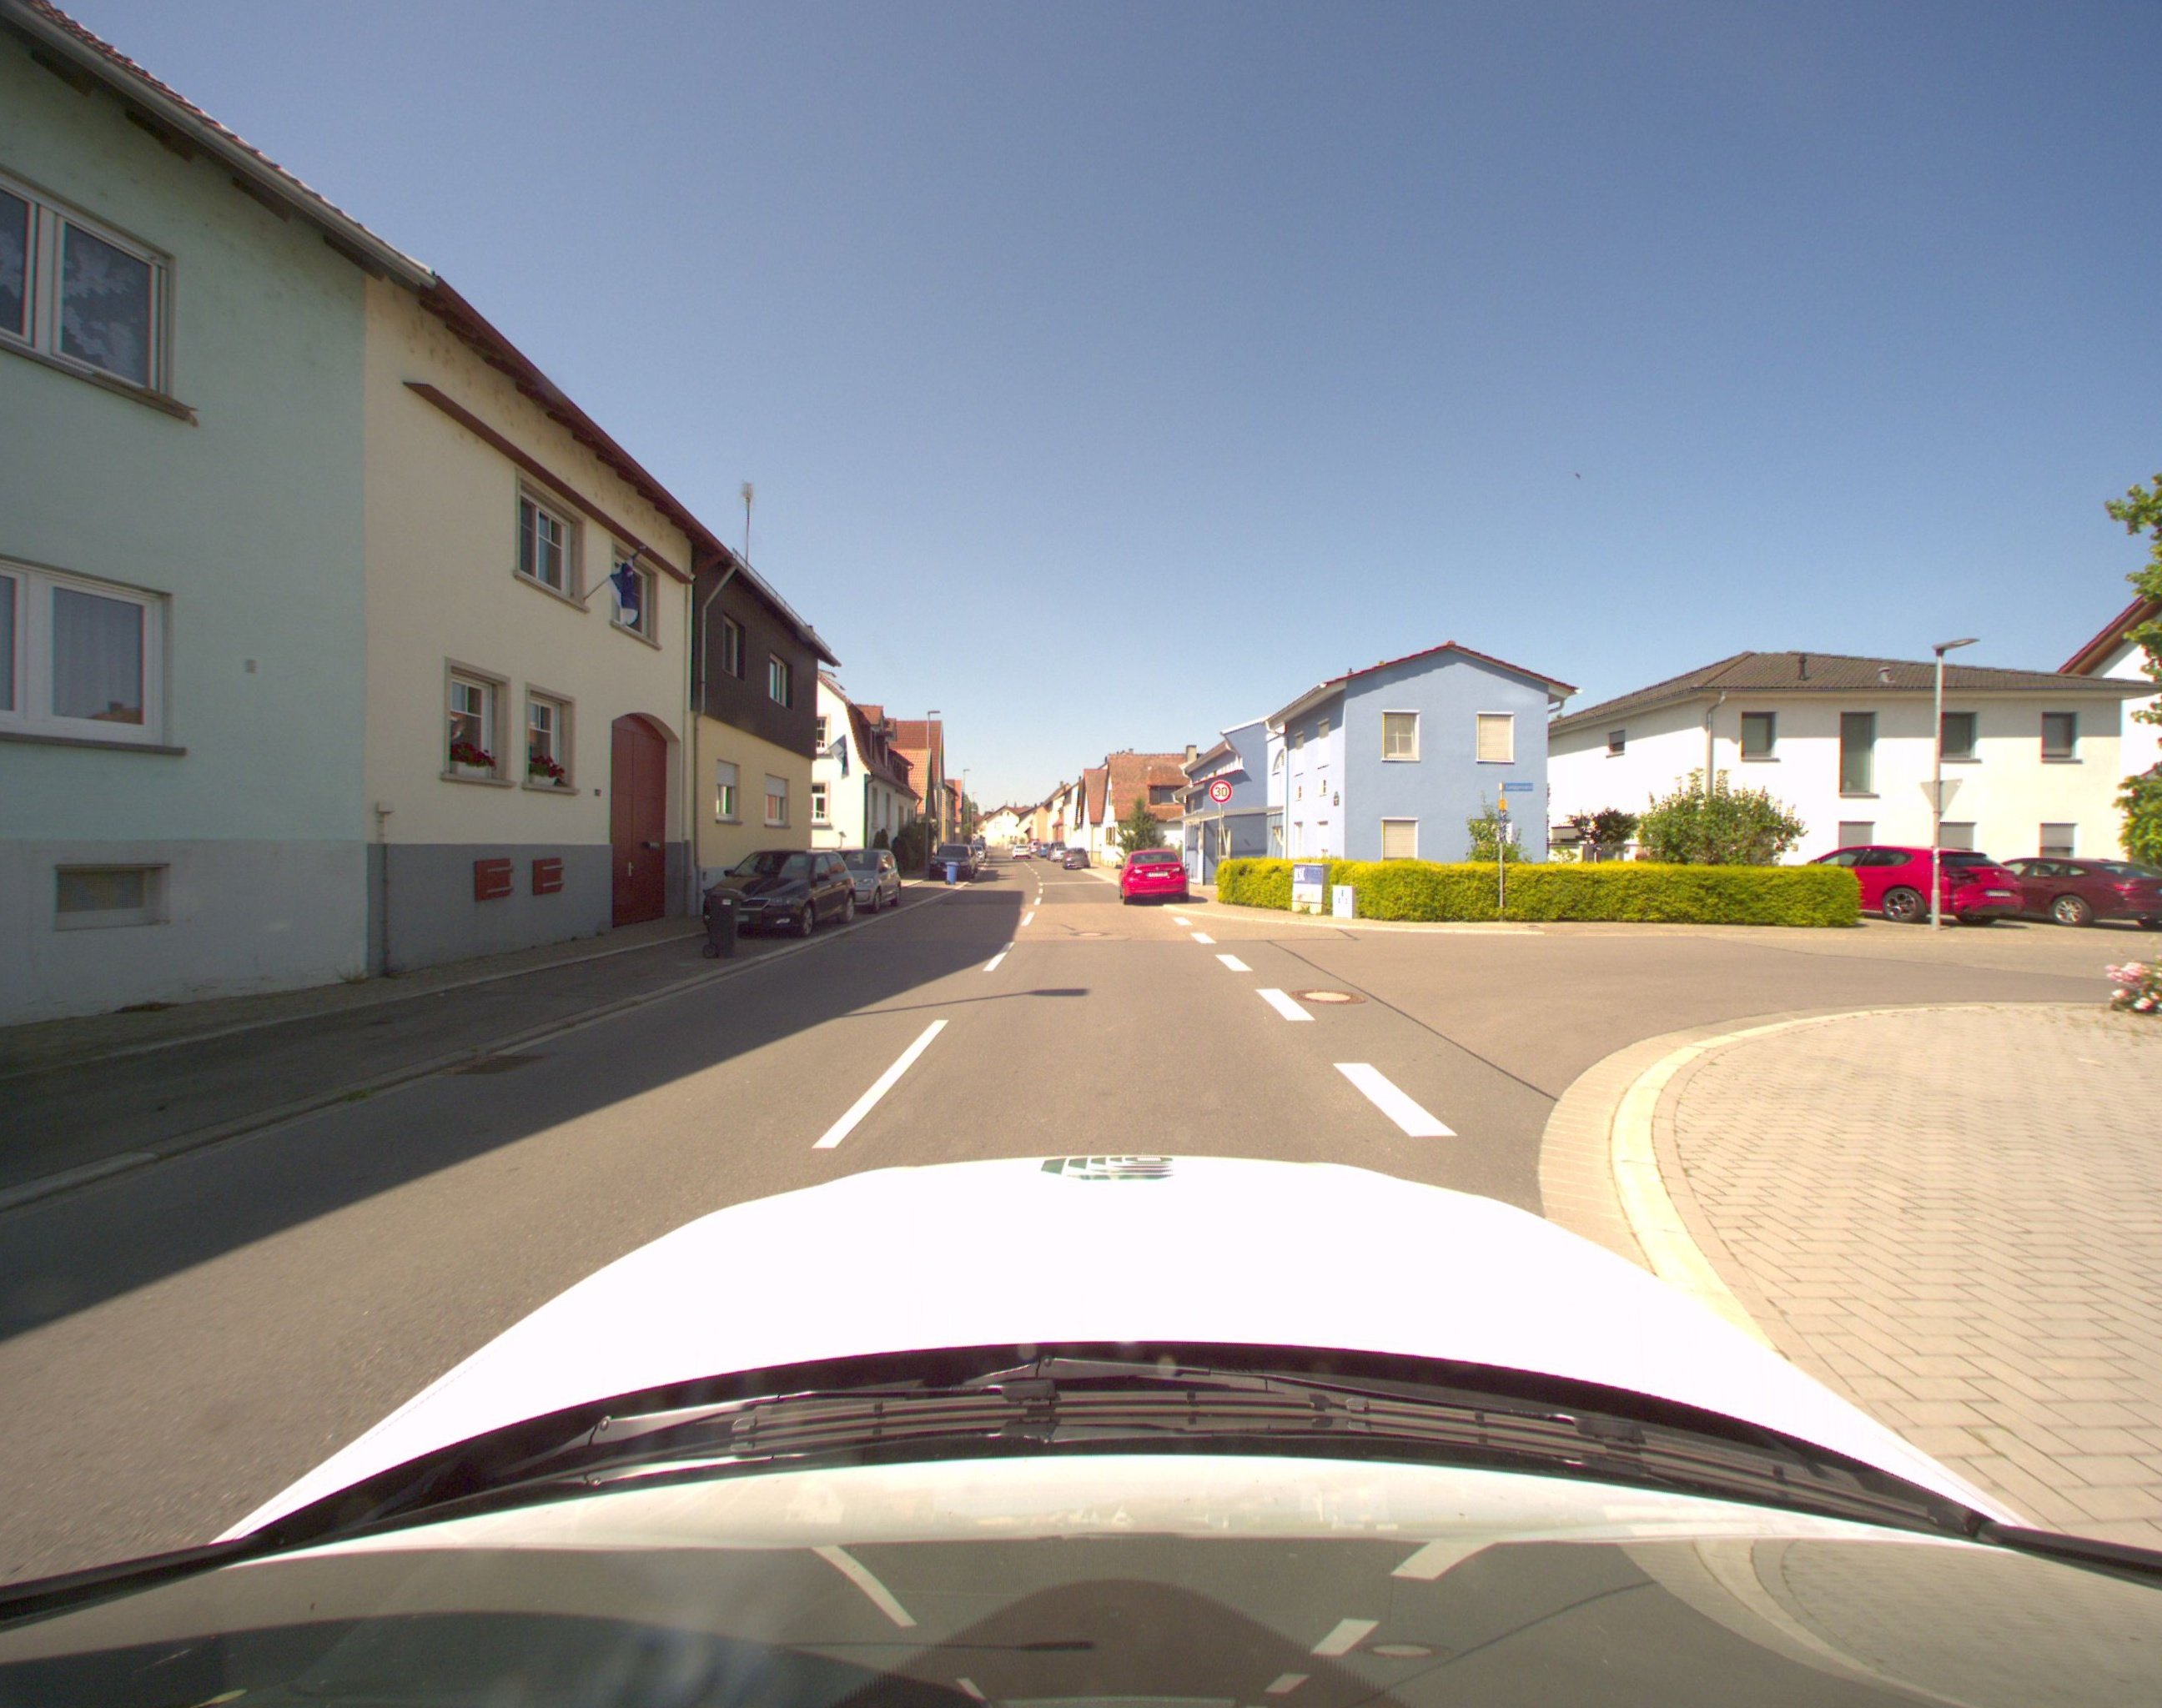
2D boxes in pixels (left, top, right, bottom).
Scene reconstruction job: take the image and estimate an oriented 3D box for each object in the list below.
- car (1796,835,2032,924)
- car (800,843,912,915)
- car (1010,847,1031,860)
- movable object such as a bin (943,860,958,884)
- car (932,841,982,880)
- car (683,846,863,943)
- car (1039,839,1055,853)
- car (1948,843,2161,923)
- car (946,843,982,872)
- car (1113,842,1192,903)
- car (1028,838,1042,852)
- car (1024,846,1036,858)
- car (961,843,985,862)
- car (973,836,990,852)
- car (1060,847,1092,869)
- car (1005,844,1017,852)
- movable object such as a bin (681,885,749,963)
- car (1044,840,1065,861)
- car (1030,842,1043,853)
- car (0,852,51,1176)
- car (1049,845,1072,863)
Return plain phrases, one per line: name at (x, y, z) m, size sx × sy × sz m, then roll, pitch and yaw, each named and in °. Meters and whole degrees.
car at (17.796, 0.486, 17.643) m, size 1.627 × 1.672 × 3.477 m, roll 2°, pitch 0°, yaw 3°
car at (-5.391, 0.546, 19.982) m, size 1.635 × 1.501 × 3.780 m, roll 3°, pitch 0°, yaw 0°
car at (-6.220, -0.033, 83.398) m, size 1.991 × 1.288 × 3.991 m, roll -1°, pitch 0°, yaw -6°
movable object such as a bin at (-5.474, 0.754, 34.169) m, size 0.595 × 0.982 × 0.530 m, roll 1°, pitch 0°, yaw -4°
car at (-5.881, 0.284, 39.141) m, size 1.916 × 1.667 × 4.660 m, roll 2°, pitch 0°, yaw -3°
car at (-5.354, 0.631, 14.748) m, size 1.673 × 1.437 × 3.995 m, roll 3°, pitch 0°, yaw 0°
car at (-3.624, -0.849, 87.101) m, size 1.419 × 1.515 × 3.296 m, roll 1°, pitch 0°, yaw -7°
car at (21.270, 0.585, 17.508) m, size 1.613 × 1.521 × 3.477 m, roll 2°, pitch 0°, yaw 3°
car at (-7.089, 0.190, 49.540) m, size 1.870 × 1.636 × 4.656 m, roll 1°, pitch 0°, yaw -5°
car at (1.905, 0.490, 22.856) m, size 1.727 × 1.494 × 4.352 m, roll -2°, pitch -1°, yaw -1°
car at (-6.648, -1.307, 117.622) m, size 1.764 × 2.004 × 3.443 m, roll -1°, pitch 0°, yaw -5°
car at (-6.548, -0.303, 104.508) m, size 1.419 × 1.515 × 3.296 m, roll 1°, pitch 0°, yaw -7°
car at (-9.294, -0.140, 70.516) m, size 1.803 × 1.547 × 4.396 m, roll 1°, pitch 0°, yaw -5°
car at (-10.281, -1.012, 84.172) m, size 1.617 × 1.577 × 3.952 m, roll 1°, pitch 0°, yaw -7°
car at (-0.391, 0.251, 54.481) m, size 1.703 × 1.433 × 3.880 m, roll 1°, pitch 0°, yaw -7°
car at (-11.974, -1.022, 138.465) m, size 1.991 × 1.288 × 3.795 m, roll -1°, pitch 0°, yaw -6°
movable object such as a bin at (-4.896, 0.923, 10.933) m, size 0.550 × 0.928 × 0.824 m, roll 4°, pitch 0°, yaw -6°
car at (-2.482, -0.303, 76.108) m, size 1.647 × 1.909 × 3.617 m, roll 1°, pitch 0°, yaw -7°
car at (-6.190, -0.889, 112.712) m, size 1.764 × 1.433 × 3.443 m, roll -1°, pitch 0°, yaw -5°
car at (-5.784, 0.724, 2.040) m, size 1.677 × 1.462 × 3.651 m, roll 0°, pitch 0°, yaw 2°
car at (-1.795, -0.029, 71.068) m, size 1.703 × 1.496 × 3.444 m, roll 1°, pitch 0°, yaw -7°
